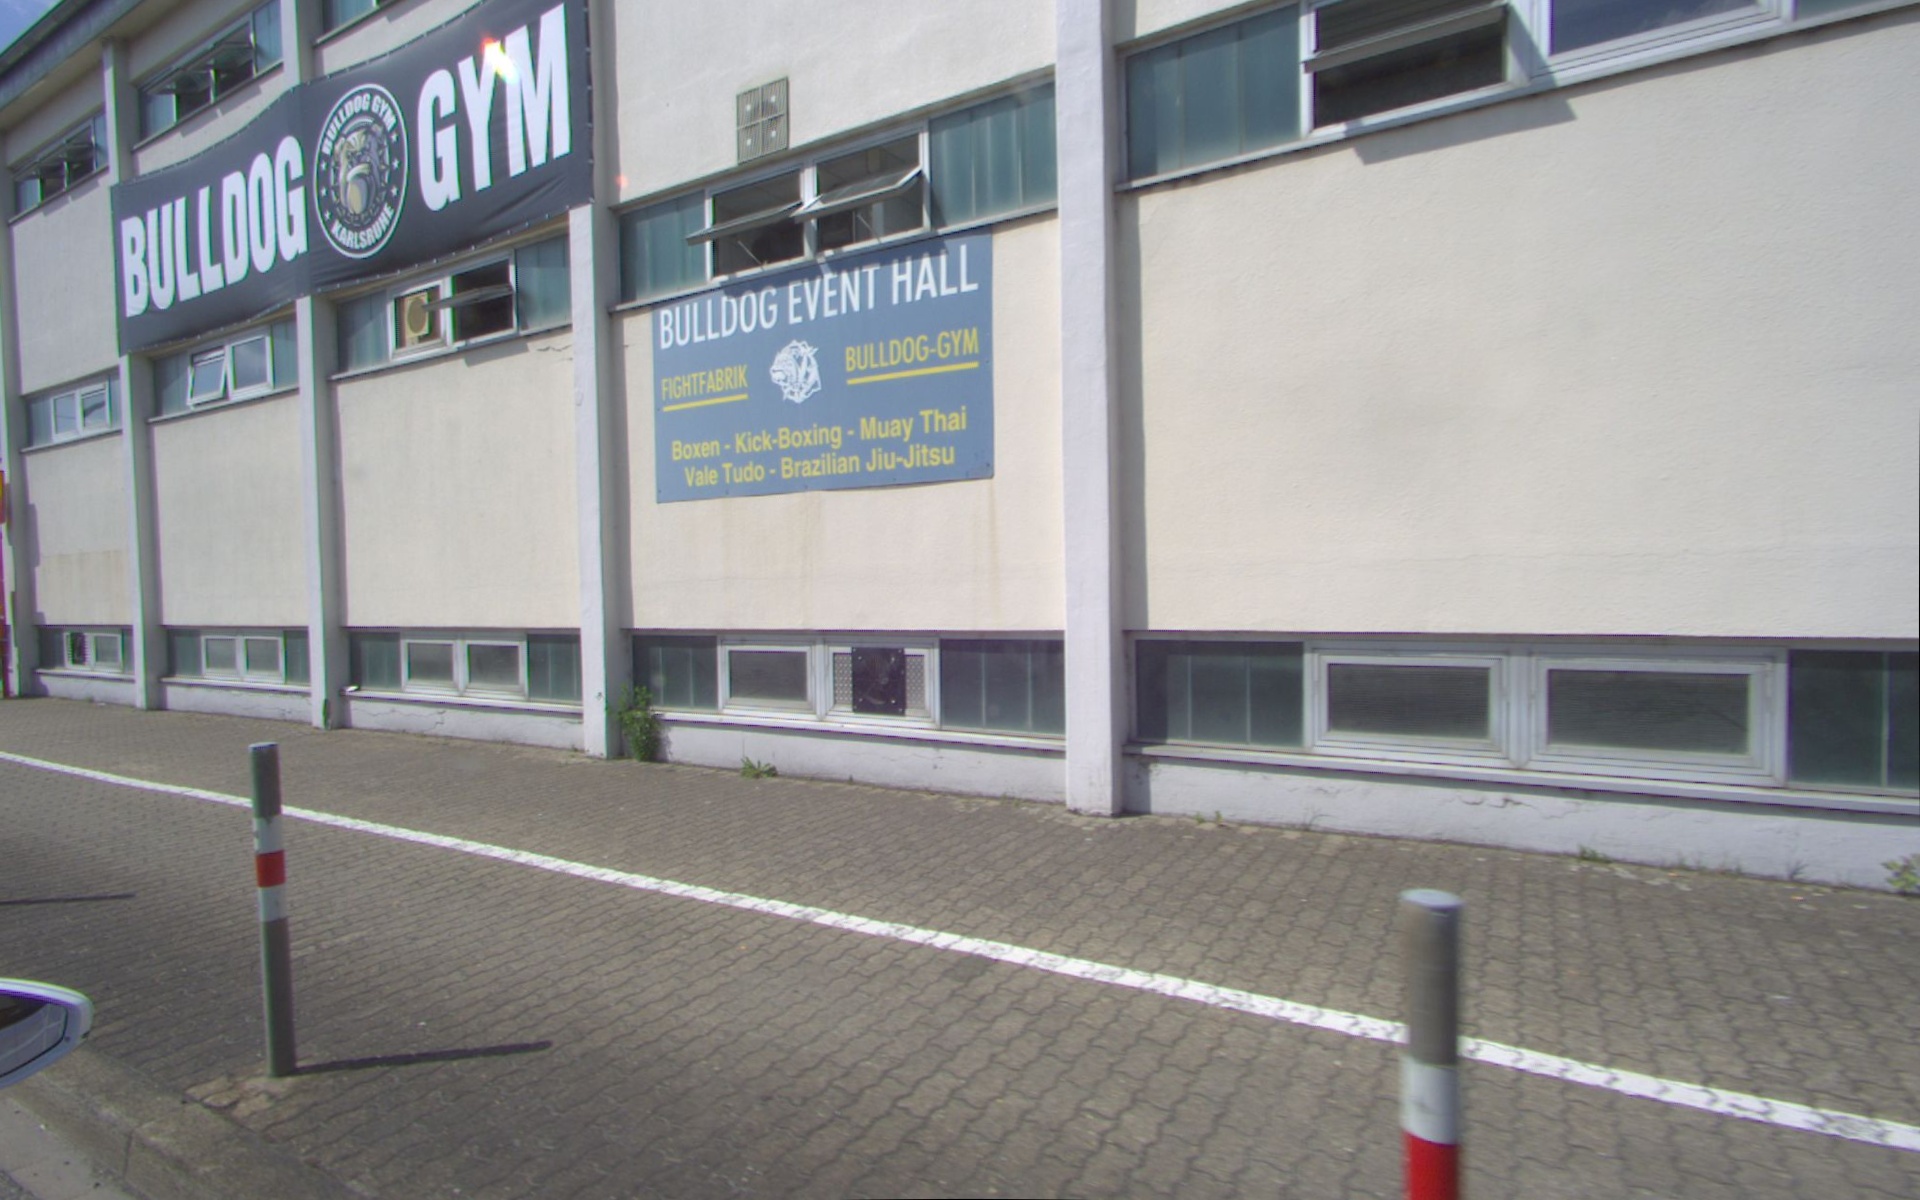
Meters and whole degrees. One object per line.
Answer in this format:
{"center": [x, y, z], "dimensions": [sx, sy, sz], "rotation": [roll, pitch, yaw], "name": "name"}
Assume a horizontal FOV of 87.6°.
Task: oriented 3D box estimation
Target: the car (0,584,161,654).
{"center": [-24.228, 0.459, 26.385], "dimensions": [1.884, 1.736, 4.682], "rotation": [1, 2, 39], "name": "car"}
